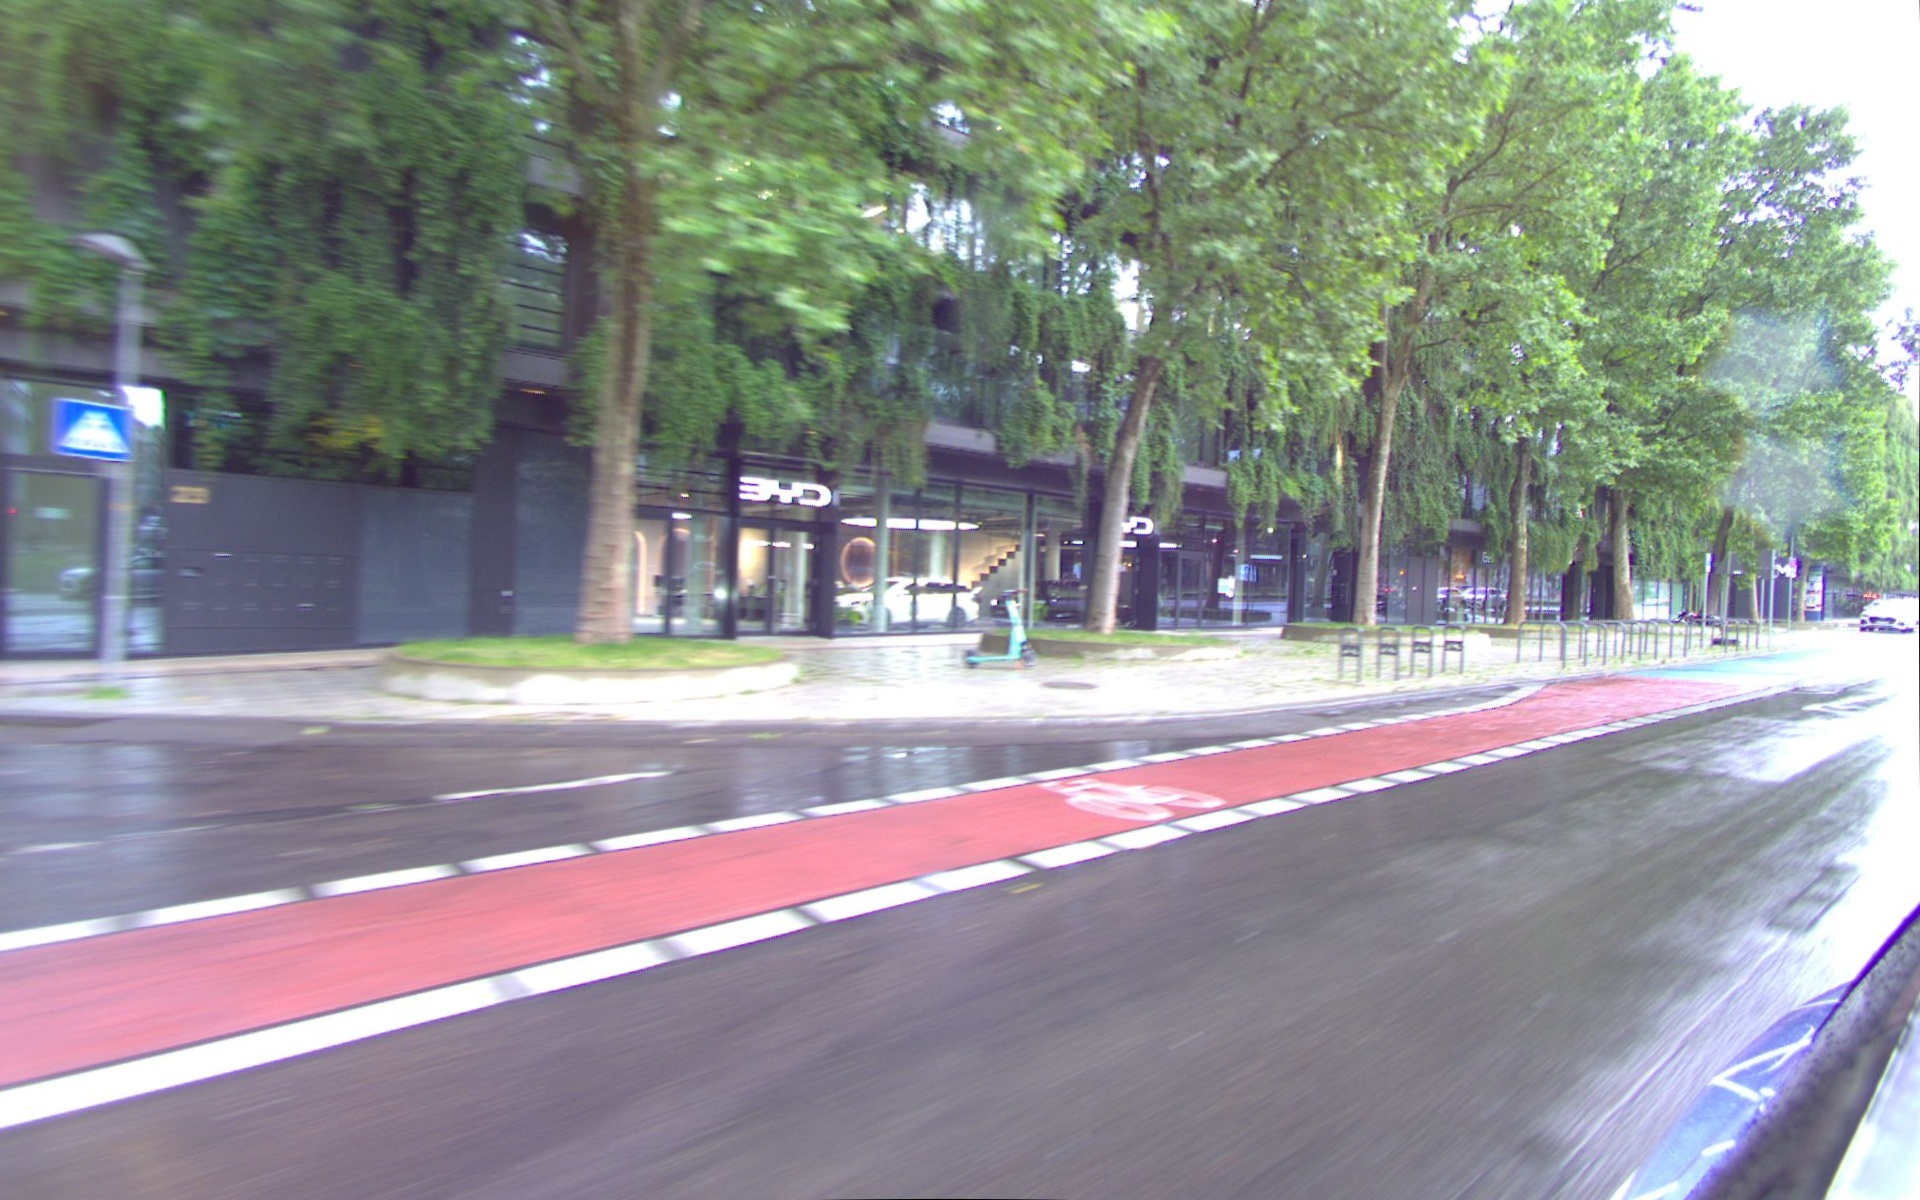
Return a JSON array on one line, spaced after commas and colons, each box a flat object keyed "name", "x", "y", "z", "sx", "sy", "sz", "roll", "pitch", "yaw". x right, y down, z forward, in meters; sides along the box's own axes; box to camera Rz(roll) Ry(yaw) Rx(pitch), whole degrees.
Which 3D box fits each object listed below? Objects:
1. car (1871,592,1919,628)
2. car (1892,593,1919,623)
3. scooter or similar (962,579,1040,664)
[{"name": "car", "x": 48.864, "y": 0.464, "z": 52.482, "sx": 4.520, "sy": 1.758, "sz": 1.930, "roll": -1, "pitch": 1, "yaw": -42}, {"name": "car", "x": 53.525, "y": 0.444, "z": 56.217, "sx": 4.503, "sy": 1.581, "sz": 2.035, "roll": -1, "pitch": 1, "yaw": -40}, {"name": "scooter or similar", "x": 0.645, "y": 0.326, "z": 15.825, "sx": 1.165, "sy": 1.298, "sz": 0.535, "roll": 0, "pitch": 0, "yaw": 10}]
